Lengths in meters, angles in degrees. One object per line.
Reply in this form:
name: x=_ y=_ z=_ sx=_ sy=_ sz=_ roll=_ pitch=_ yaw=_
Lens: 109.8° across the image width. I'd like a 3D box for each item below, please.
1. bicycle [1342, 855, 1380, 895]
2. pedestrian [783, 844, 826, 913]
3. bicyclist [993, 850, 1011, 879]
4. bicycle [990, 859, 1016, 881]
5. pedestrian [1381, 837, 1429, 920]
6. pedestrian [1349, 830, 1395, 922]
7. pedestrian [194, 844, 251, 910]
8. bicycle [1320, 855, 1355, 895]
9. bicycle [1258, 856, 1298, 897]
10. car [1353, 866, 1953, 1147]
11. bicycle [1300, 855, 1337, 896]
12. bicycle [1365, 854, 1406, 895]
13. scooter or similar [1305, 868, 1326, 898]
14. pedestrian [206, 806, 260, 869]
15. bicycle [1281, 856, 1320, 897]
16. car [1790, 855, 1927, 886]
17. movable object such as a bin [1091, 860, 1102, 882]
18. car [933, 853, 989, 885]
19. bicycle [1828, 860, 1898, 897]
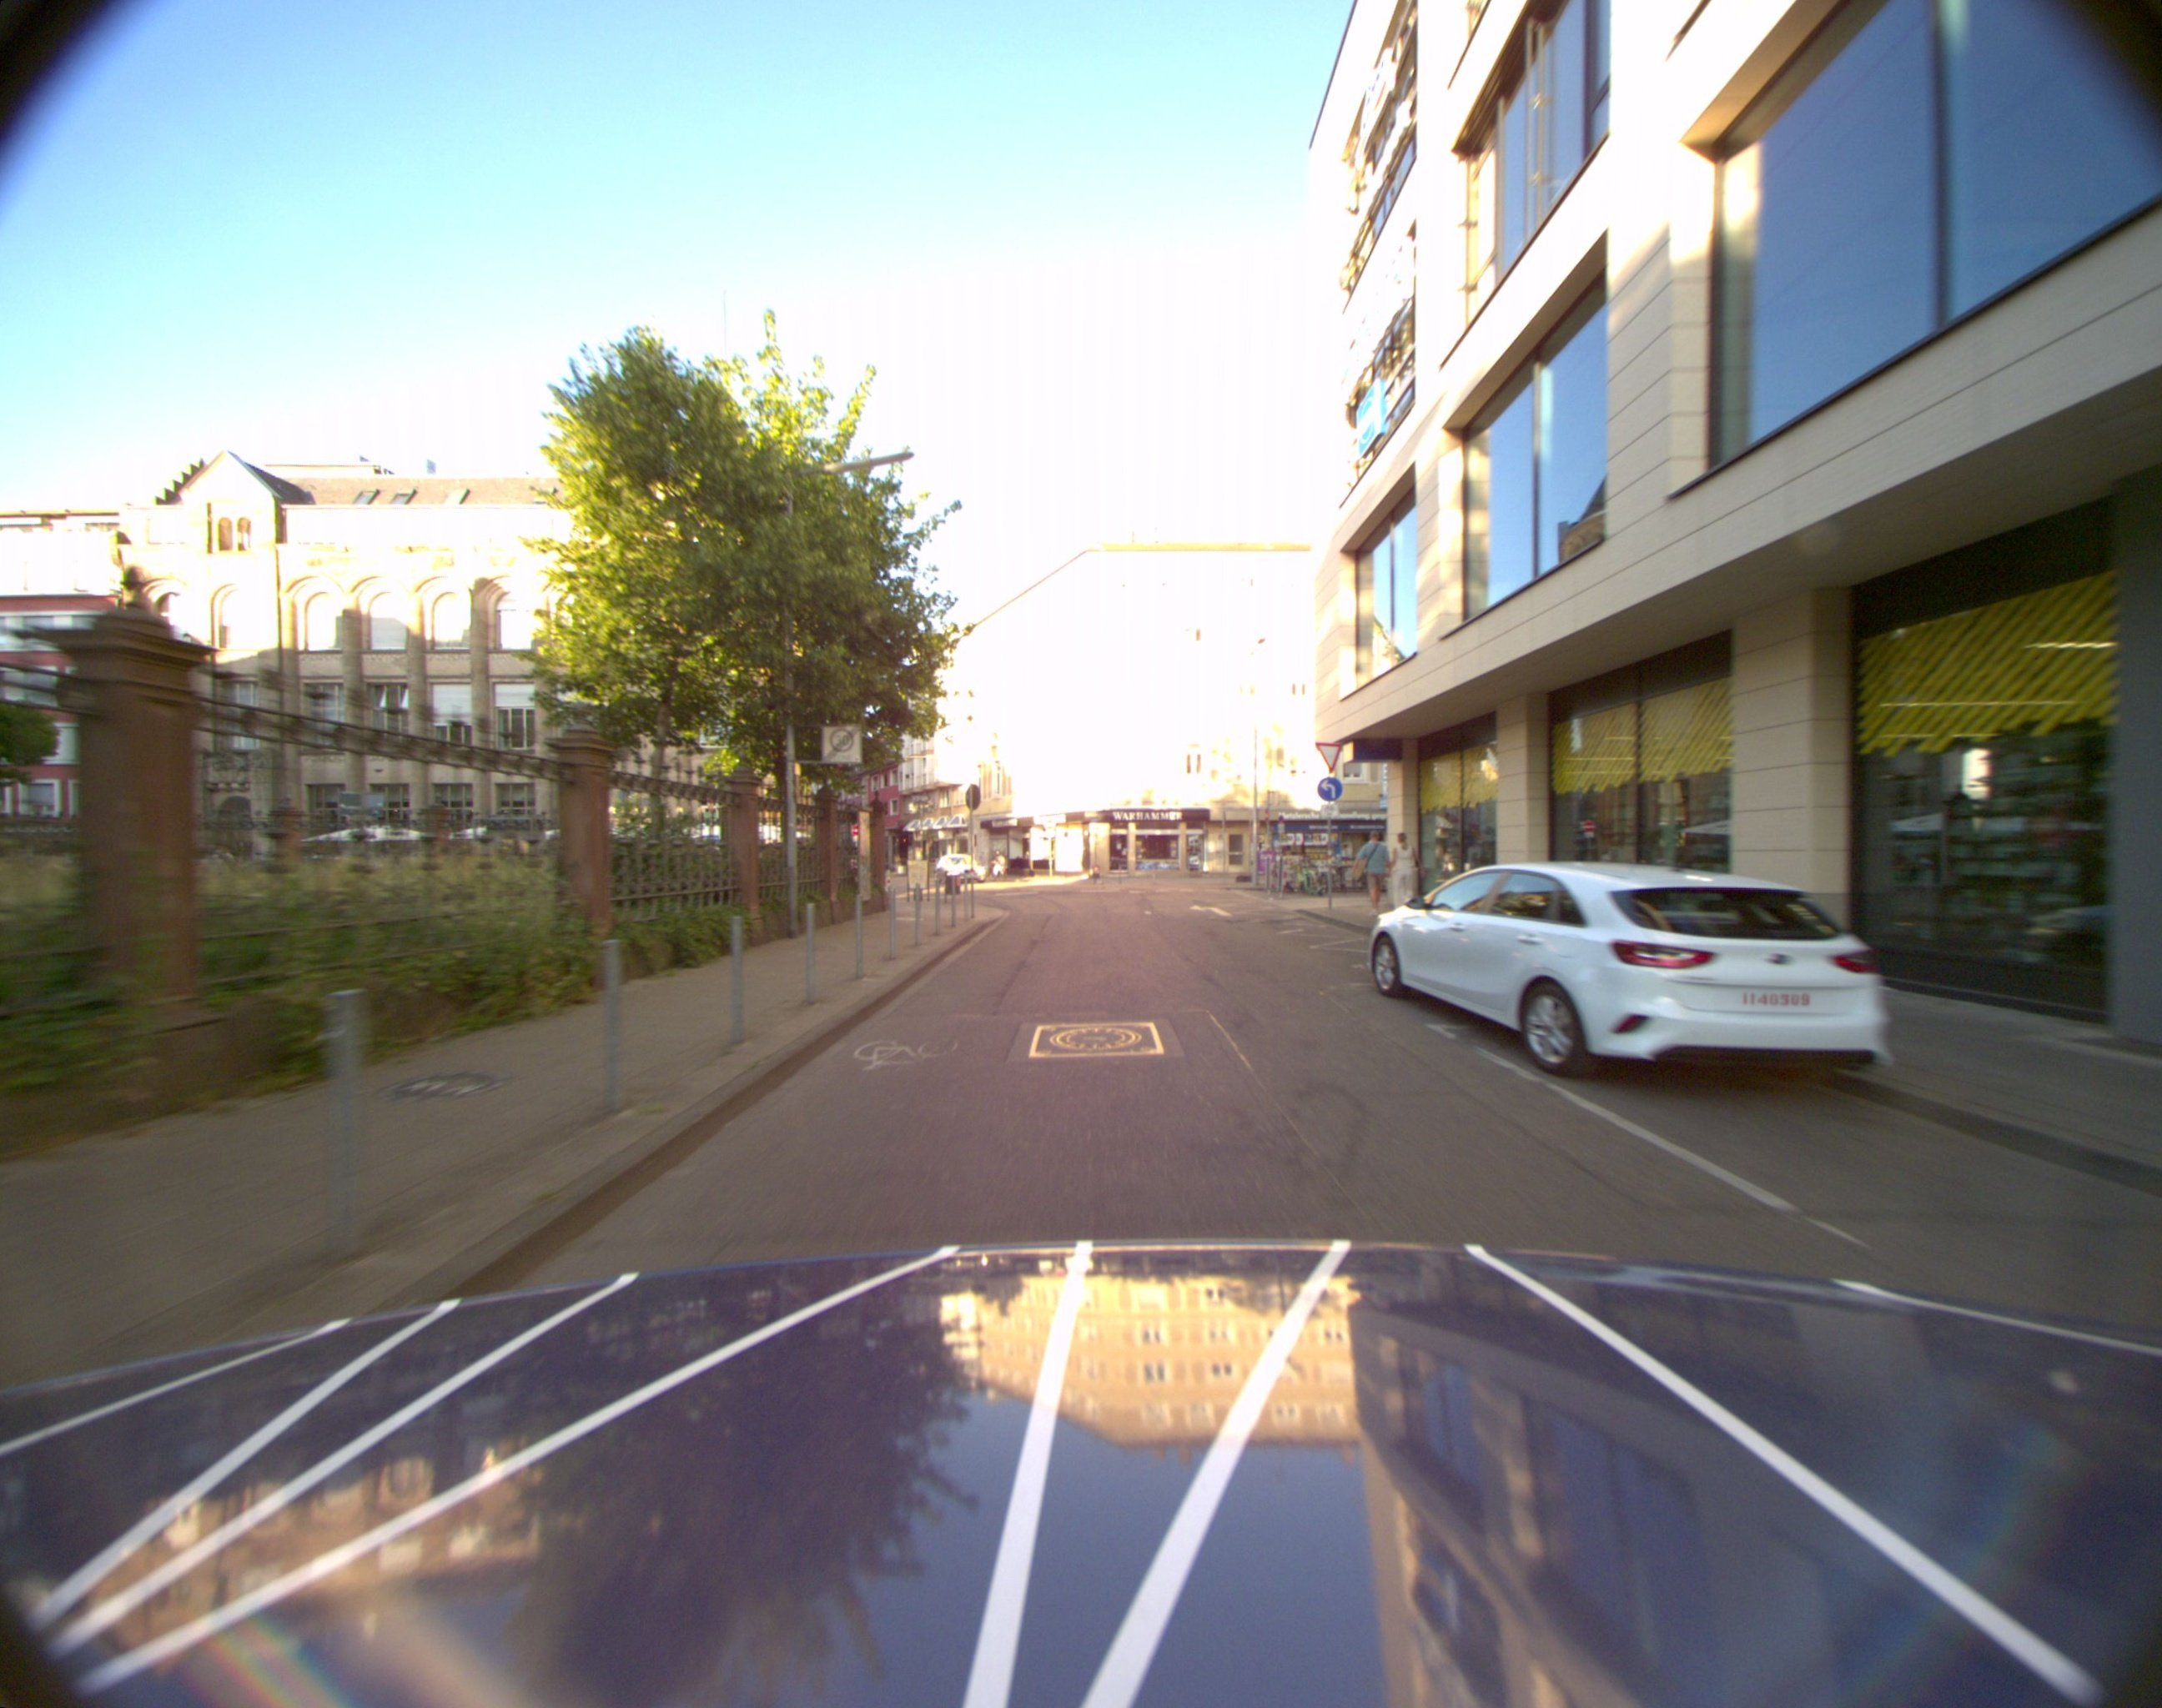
bicycle: x=9.242 y=0.669 z=25.130 sx=0.513 sy=1.248 sz=1.978 roll=-1 pitch=1 yaw=-1
pedestrian: x=-7.059 y=0.605 z=19.383 sx=0.843 sy=1.713 sz=0.639 roll=0 pitch=1 yaw=35
bicyclist: x=-4.394 y=0.584 z=42.408 sx=0.661 sy=1.562 sz=0.861 roll=-2 pitch=2 yaw=-34
bicycle: x=-4.385 y=0.878 z=42.409 sx=0.667 sy=1.132 sz=1.817 roll=-2 pitch=2 yaw=-33
pedestrian: x=6.609 y=0.488 z=15.519 sx=0.674 sy=1.665 sz=0.647 roll=-1 pitch=1 yaw=-2
pedestrian: x=5.924 y=0.440 z=15.505 sx=0.674 sy=1.826 sz=0.647 roll=-1 pitch=1 yaw=-2
pedestrian: x=-21.918 y=0.584 z=19.404 sx=0.706 sy=1.660 sz=0.641 roll=-1 pitch=0 yaw=-13
bicycle: x=8.485 y=0.676 z=25.213 sx=0.513 sy=1.248 sz=1.978 roll=-1 pitch=1 yaw=1
bicycle: x=6.457 y=0.712 z=25.040 sx=0.665 sy=1.248 sz=2.139 roll=-1 pitch=1 yaw=-3
car: x=3.939 y=0.879 z=6.342 sx=1.782 sy=1.444 sz=4.230 roll=0 pitch=1 yaw=-1
bicycle: x=7.861 y=0.699 z=25.185 sx=0.513 sy=1.248 sz=1.978 roll=-1 pitch=1 yaw=-3
bicycle: x=10.029 y=0.662 z=25.107 sx=0.513 sy=1.248 sz=1.978 roll=-1 pitch=1 yaw=-2
scooter or similar: x=7.301 y=0.898 z=23.679 sx=0.387 sy=0.879 sz=0.770 roll=-1 pitch=2 yaw=-1
pedestrian: x=-22.431 y=-0.426 z=20.106 sx=0.706 sy=1.660 sz=0.641 roll=-1 pitch=0 yaw=-13
bicycle: x=7.224 y=0.713 z=25.115 sx=0.582 sy=1.248 sz=2.043 roll=-1 pitch=1 yaw=-3
car: x=36.202 y=0.756 z=35.454 sx=4.620 sy=1.383 sz=1.863 roll=0 pitch=1 yaw=-3
movable object such as a bin: x=0.745 y=0.818 z=36.518 sx=0.361 sy=1.057 sz=0.355 roll=-1 pitch=2 yaw=-41
car: x=-5.907 y=0.665 z=37.046 sx=2.002 sy=1.414 sz=4.451 roll=-1 pitch=1 yaw=-18
bicycle: x=27.309 y=0.860 z=26.539 sx=1.978 sy=1.248 sz=0.513 roll=-1 pitch=2 yaw=-2
